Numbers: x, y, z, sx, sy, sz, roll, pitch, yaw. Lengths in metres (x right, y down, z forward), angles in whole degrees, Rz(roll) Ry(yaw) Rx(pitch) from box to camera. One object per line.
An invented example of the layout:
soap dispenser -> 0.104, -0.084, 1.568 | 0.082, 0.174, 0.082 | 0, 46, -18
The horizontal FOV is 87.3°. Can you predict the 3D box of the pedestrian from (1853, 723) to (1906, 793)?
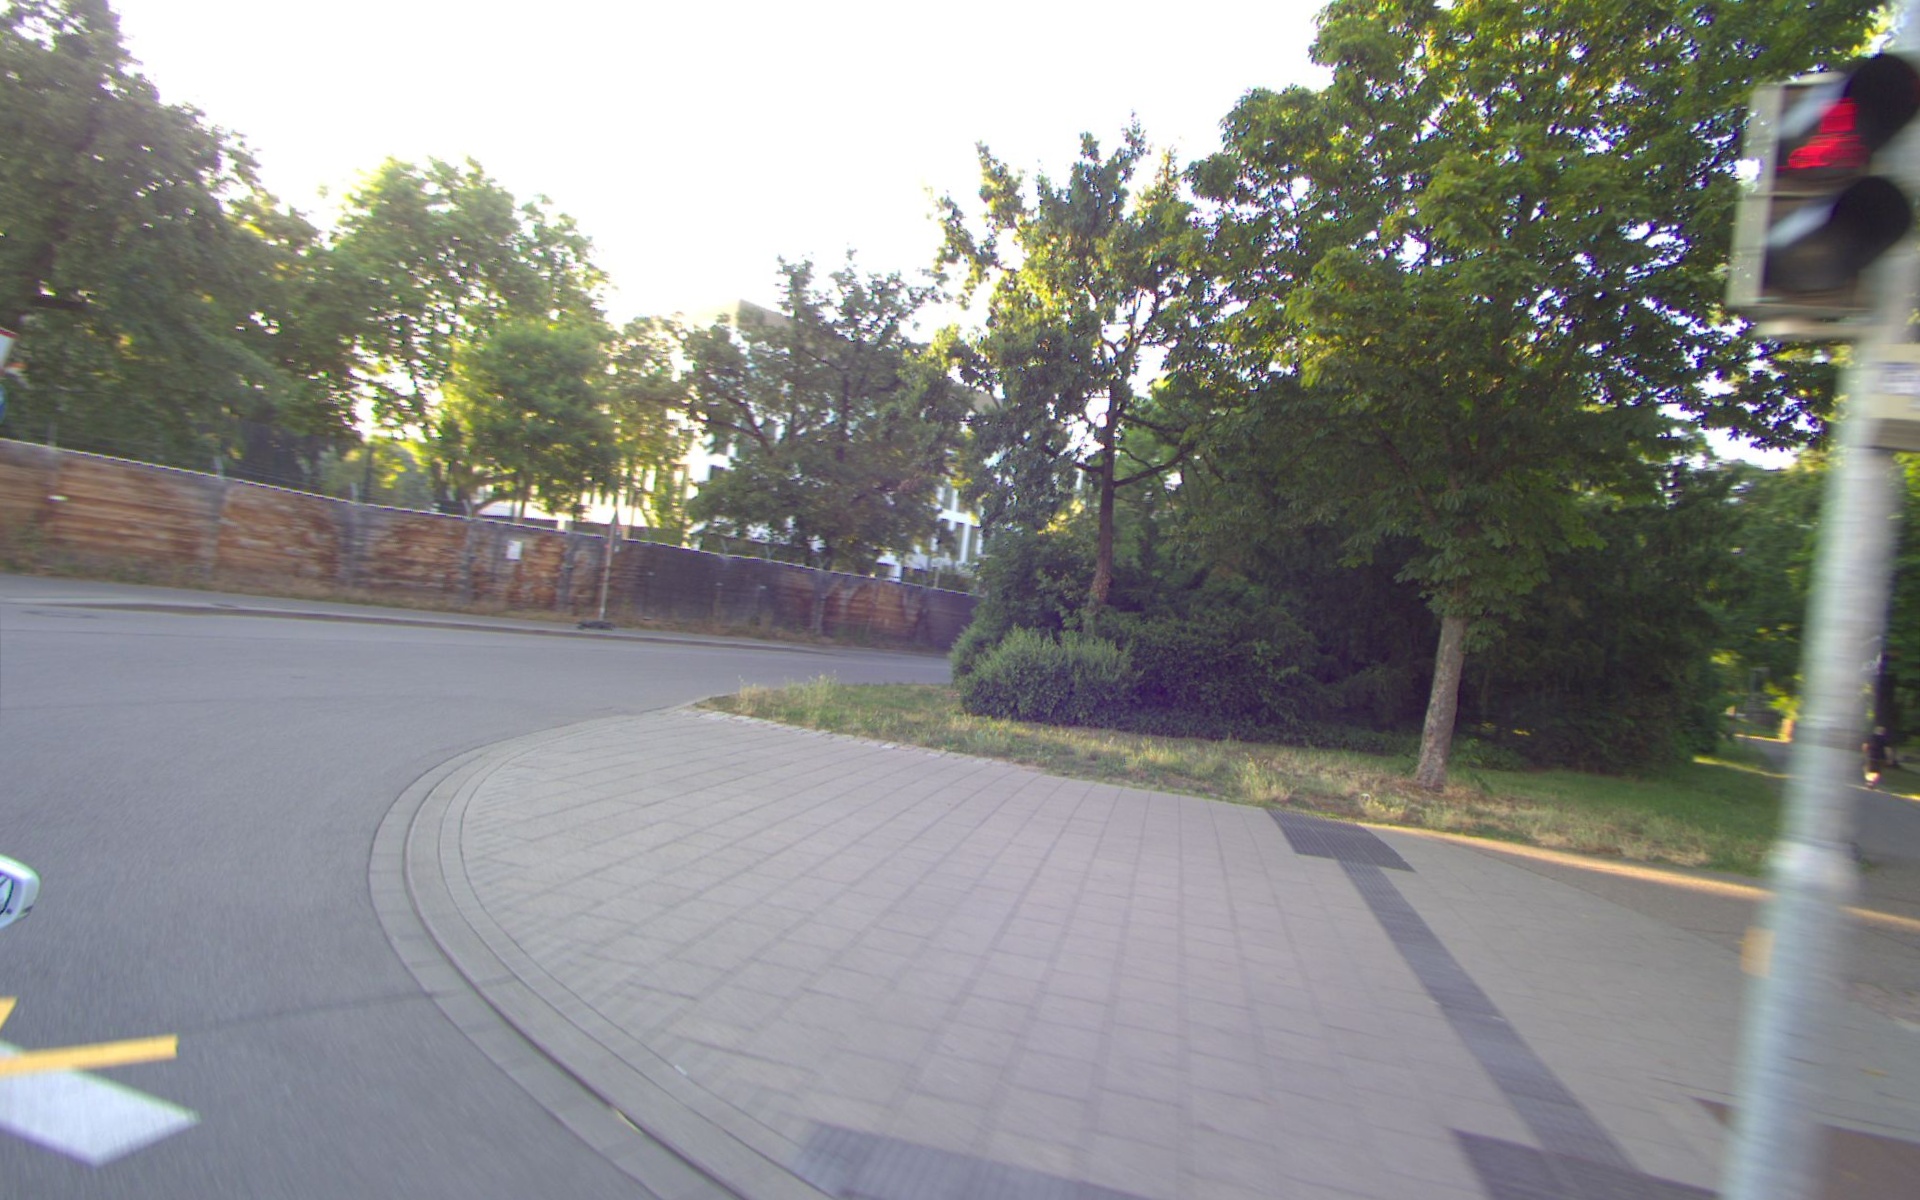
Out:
pedestrian -> 23.549, 4.033, 25.769 | 0.826, 1.644, 0.812 | 7, 0, 44
